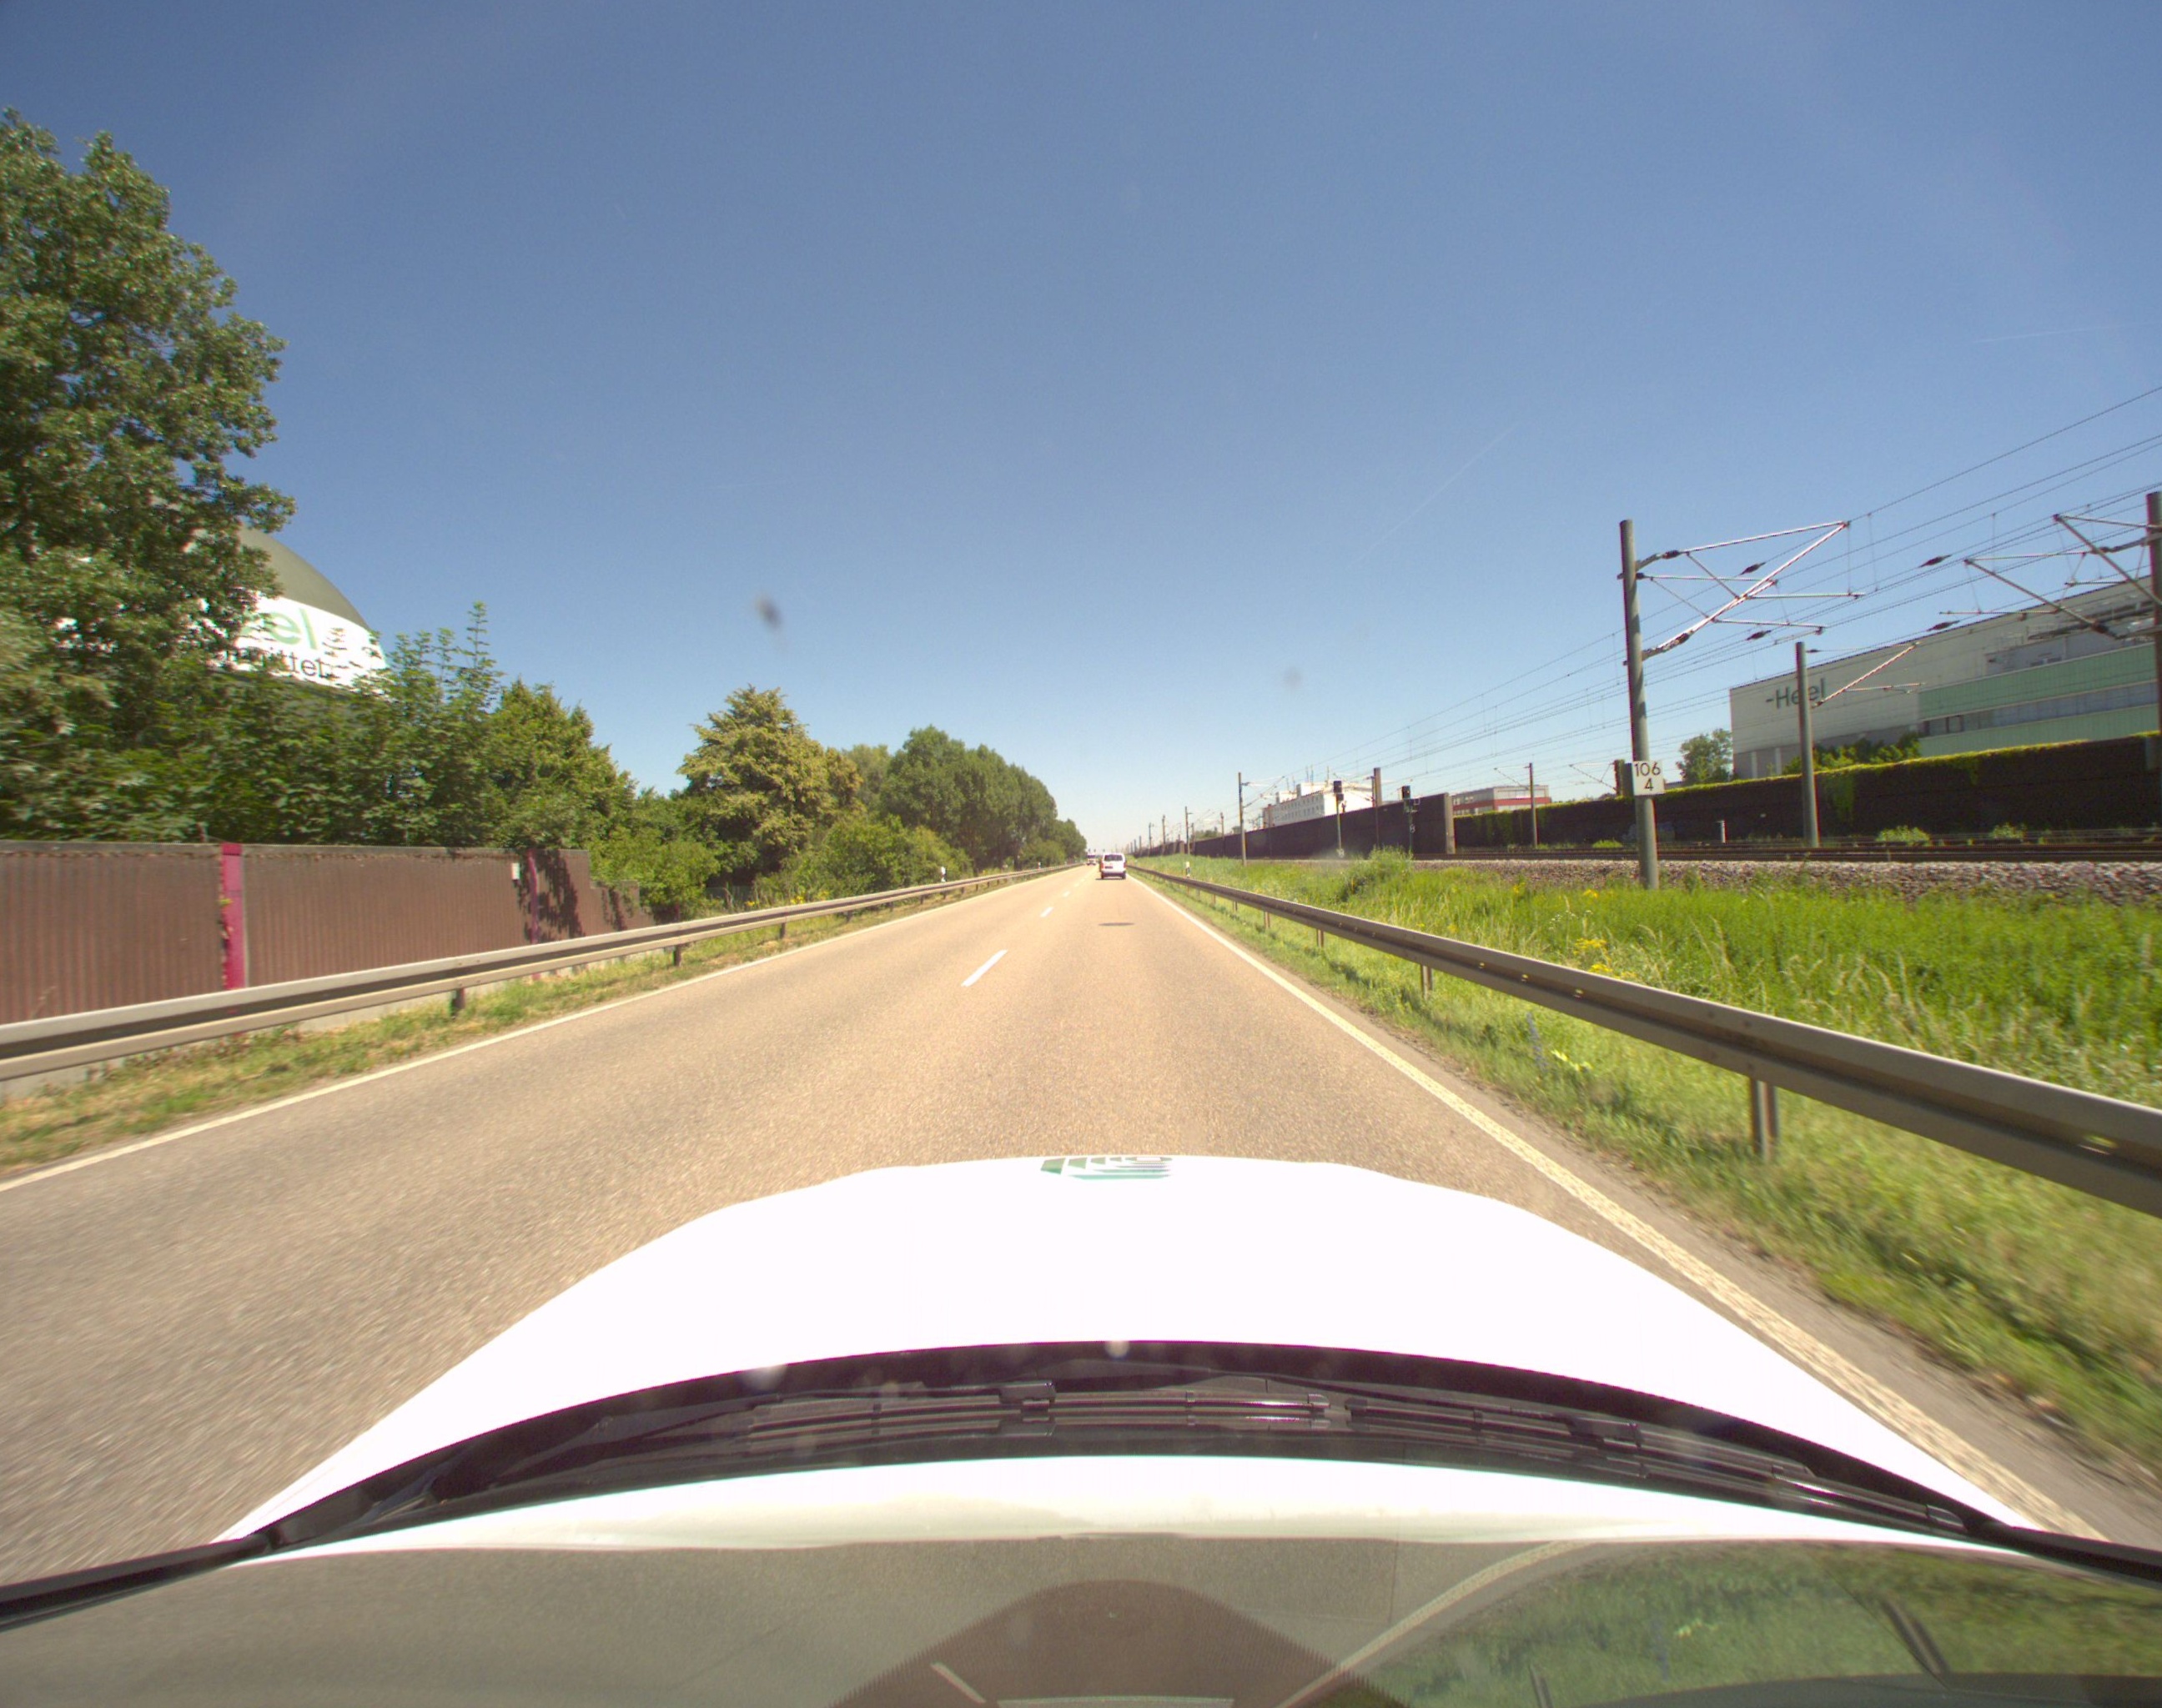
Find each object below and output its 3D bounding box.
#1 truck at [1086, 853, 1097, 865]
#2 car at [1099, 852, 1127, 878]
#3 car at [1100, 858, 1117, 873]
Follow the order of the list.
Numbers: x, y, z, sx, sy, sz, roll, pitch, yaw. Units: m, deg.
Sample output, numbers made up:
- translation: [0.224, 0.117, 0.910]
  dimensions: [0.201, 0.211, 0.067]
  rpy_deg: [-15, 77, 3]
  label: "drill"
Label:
- translation: [2.887, 1.338, 224.592]
  dimensions: [2.773, 3.405, 7.990]
  rpy_deg: [0, 0, 1]
  label: "truck"
- translation: [2.392, 0.793, 61.140]
  dimensions: [1.986, 1.850, 4.001]
  rpy_deg: [0, 0, 2]
  label: "car"
- translation: [3.332, 1.385, 99.821]
  dimensions: [1.986, 1.850, 4.001]
  rpy_deg: [0, 0, 2]
  label: "car"
